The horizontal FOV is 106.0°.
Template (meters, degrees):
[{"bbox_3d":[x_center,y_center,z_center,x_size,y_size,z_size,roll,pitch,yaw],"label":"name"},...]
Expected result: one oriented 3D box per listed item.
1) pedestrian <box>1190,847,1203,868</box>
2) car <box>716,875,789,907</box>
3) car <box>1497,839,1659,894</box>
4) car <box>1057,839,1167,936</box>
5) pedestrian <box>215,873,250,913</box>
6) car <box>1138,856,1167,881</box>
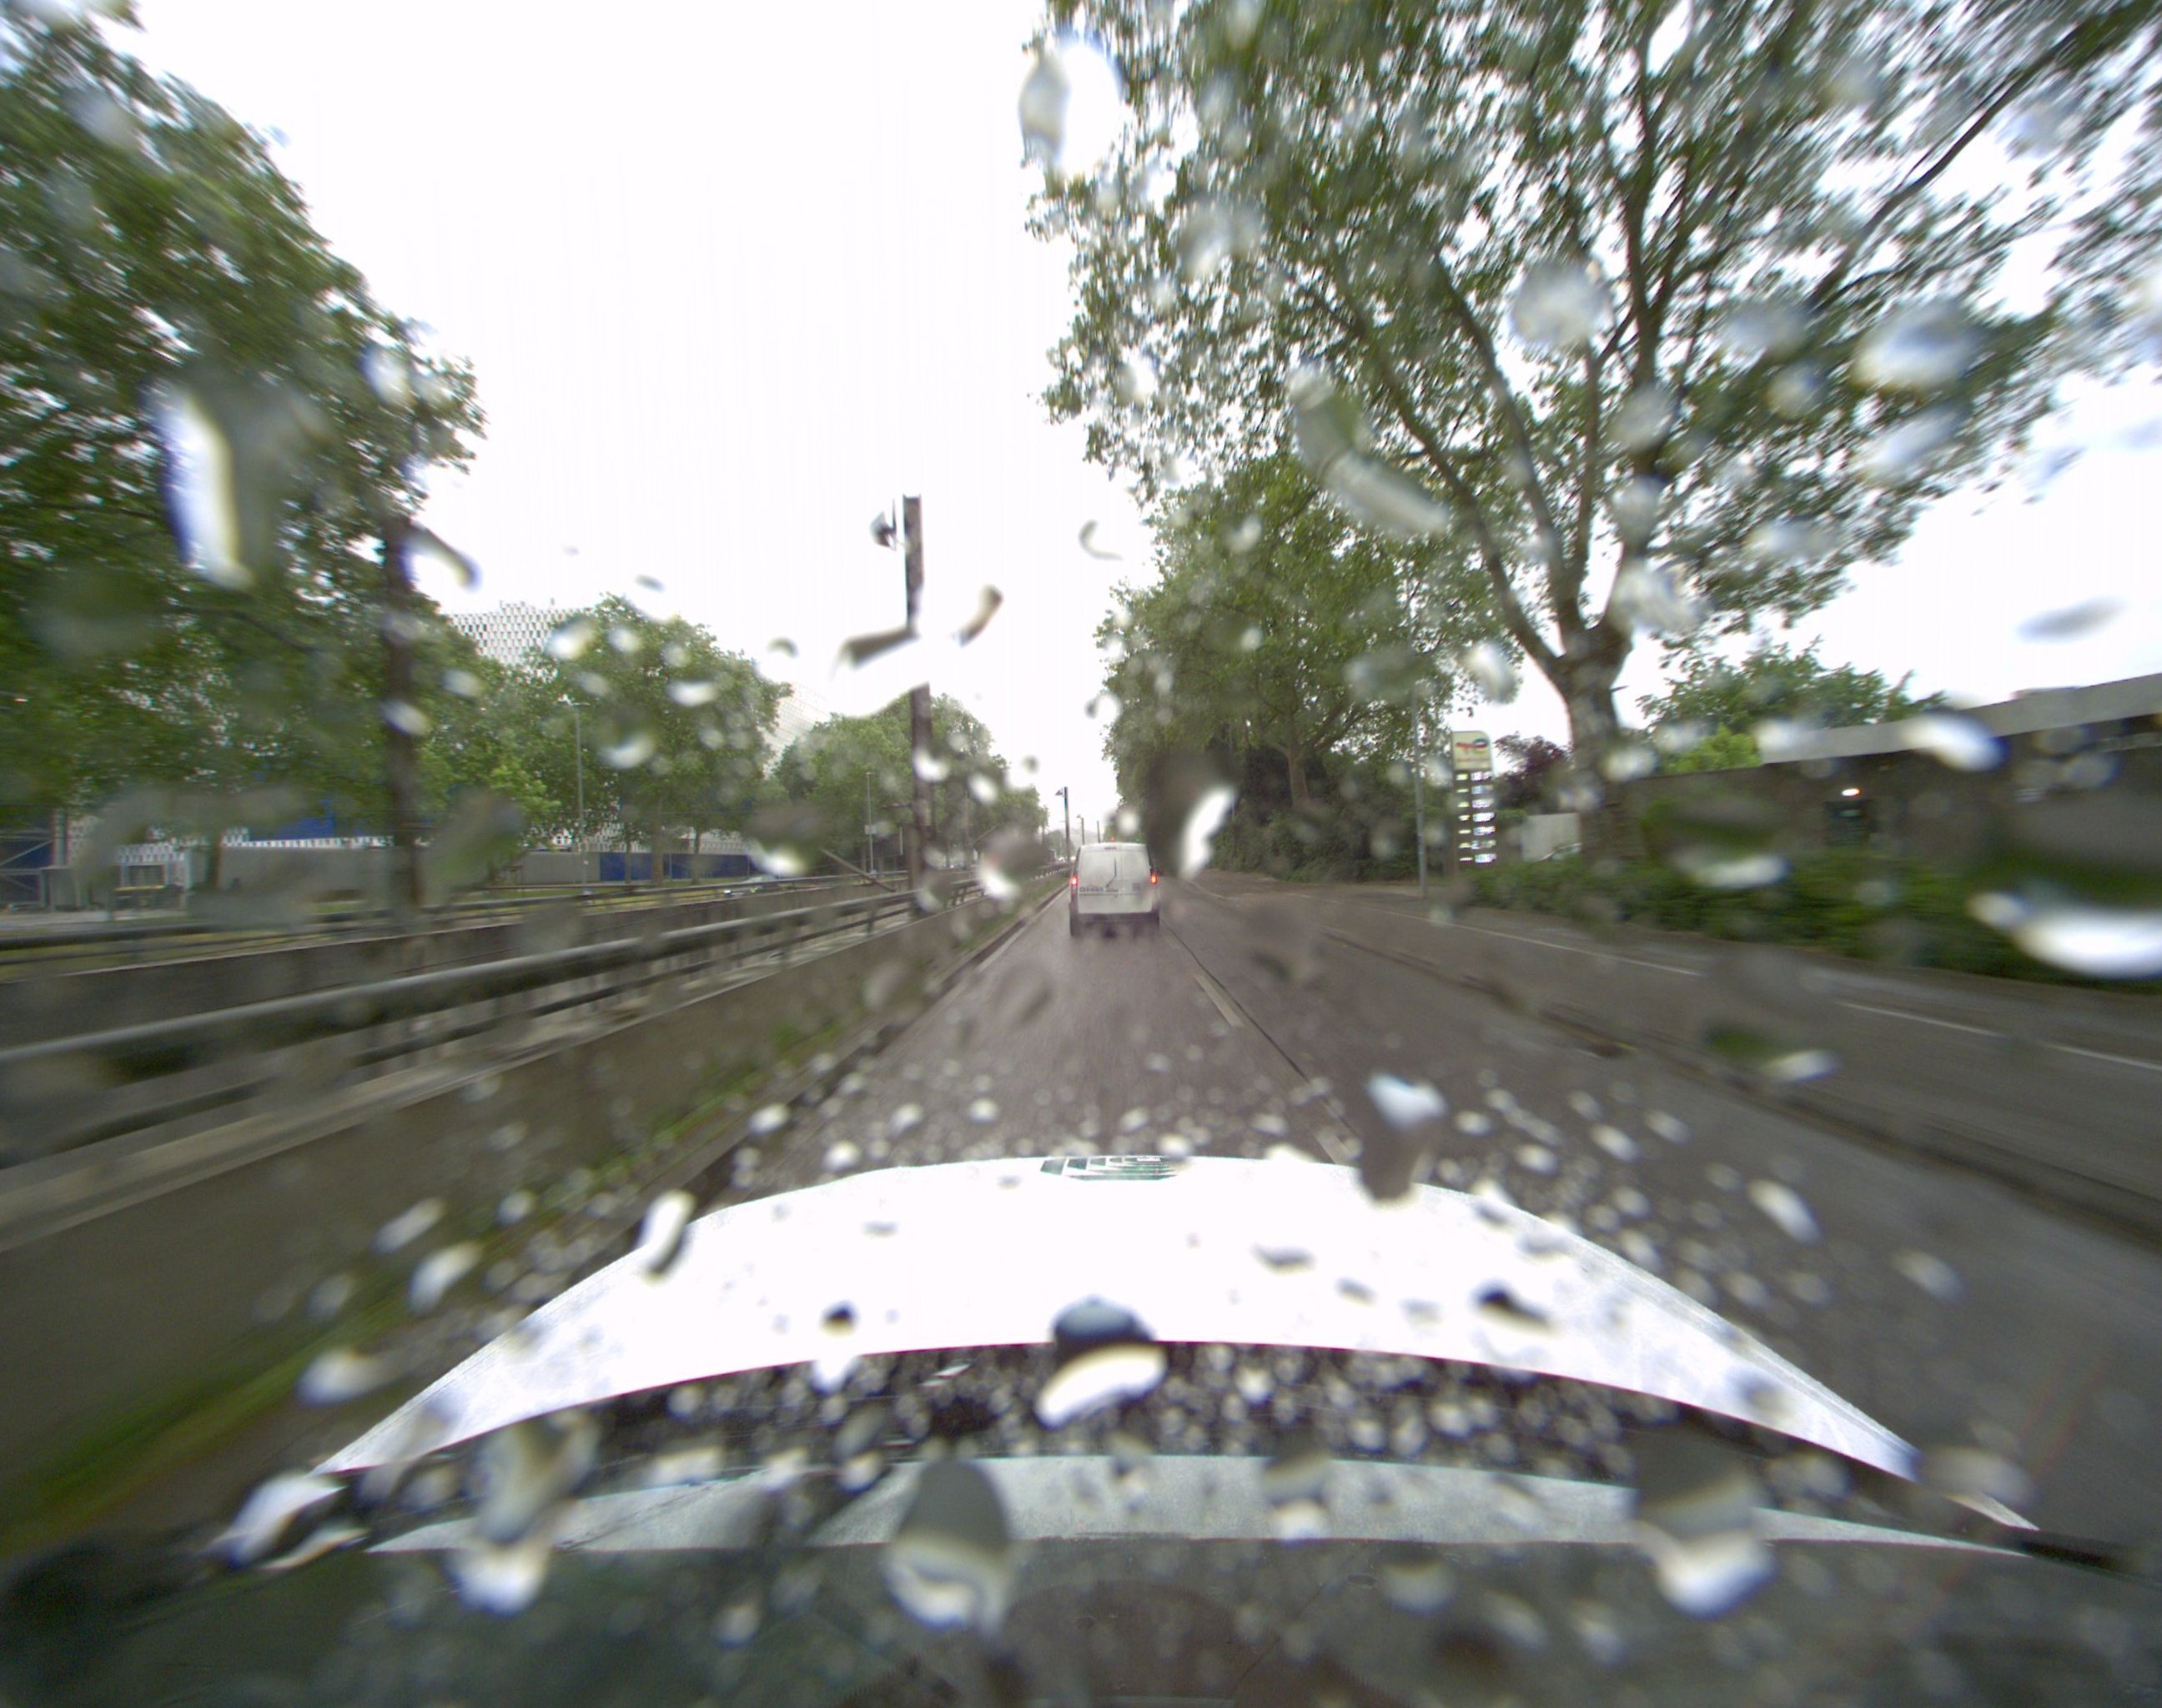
[{"bbox_3d":[9.557,0.315,67.467,0.963,1.702,1.141,0,-1,2],"label":"pedestrian"},{"bbox_3d":[-16.692,1.840,41.586,1.985,1.403,3.797,-2,0,3],"label":"car"},{"bbox_3d":[13.828,0.335,22.797,1.616,1.432,3.515,0,-1,-39],"label":"car"},{"bbox_3d":[0.626,0.623,17.195,2.017,1.775,4.275,0,0,1],"label":"car"},{"bbox_3d":[-44.296,2.019,42.527,0.997,2.014,0.790,0,-1,3],"label":"pedestrian"},{"bbox_3d":[5.364,1.062,60.895,1.983,1.750,4.008,-1,0,7],"label":"car"}]
